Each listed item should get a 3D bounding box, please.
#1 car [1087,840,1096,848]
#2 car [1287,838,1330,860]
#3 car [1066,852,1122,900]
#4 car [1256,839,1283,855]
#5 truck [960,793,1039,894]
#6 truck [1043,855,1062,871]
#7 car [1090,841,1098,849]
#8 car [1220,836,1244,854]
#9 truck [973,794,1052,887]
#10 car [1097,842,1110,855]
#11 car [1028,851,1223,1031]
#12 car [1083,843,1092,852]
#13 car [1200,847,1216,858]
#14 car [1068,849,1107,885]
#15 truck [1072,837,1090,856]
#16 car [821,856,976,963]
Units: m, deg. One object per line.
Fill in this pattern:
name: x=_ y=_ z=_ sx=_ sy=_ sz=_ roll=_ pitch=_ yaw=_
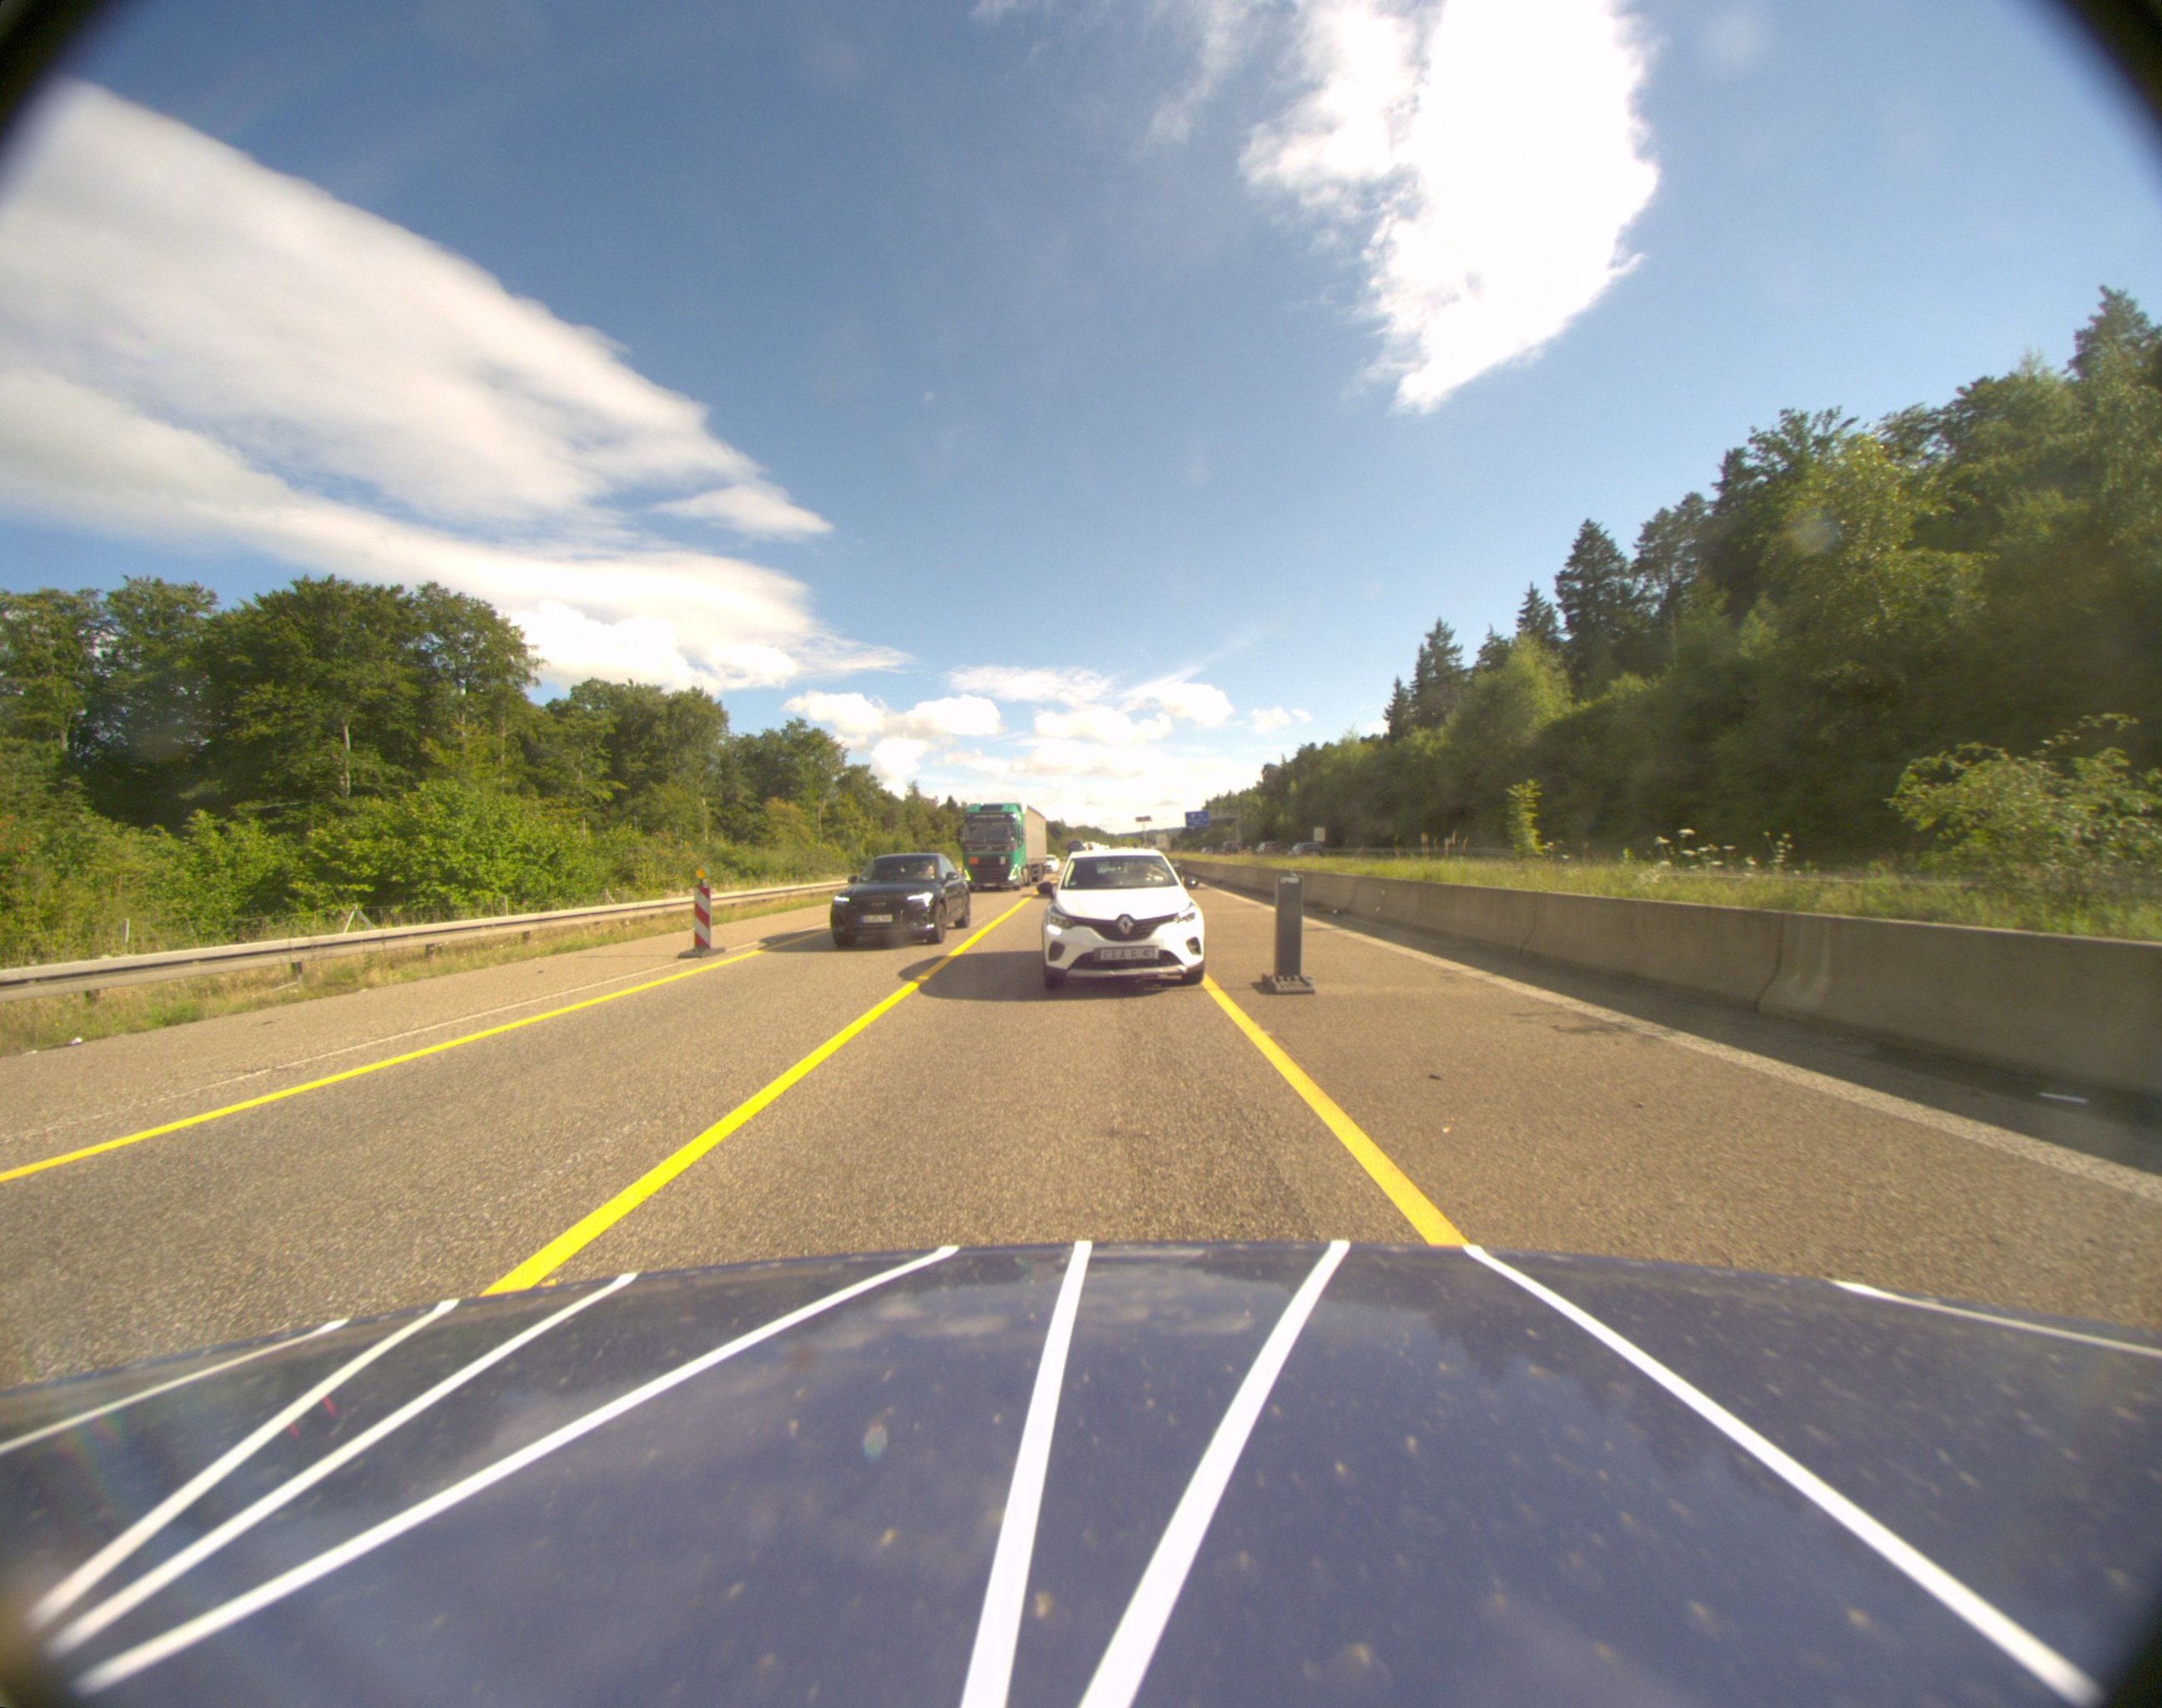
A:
car: x=2.346 y=-2.243 z=170.072 sx=1.750 sy=1.787 sz=3.999 roll=-2 pitch=1 yaw=0
car: x=15.916 y=-0.377 z=53.313 sx=1.782 sy=1.448 sz=4.104 roll=-2 pitch=1 yaw=1
car: x=0.457 y=0.730 z=27.323 sx=1.782 sy=1.468 sz=4.017 roll=-2 pitch=1 yaw=1
car: x=20.891 y=-0.777 z=84.351 sx=1.782 sy=1.679 sz=4.616 roll=-2 pitch=1 yaw=1
truck: x=-3.582 y=-0.484 z=35.114 sx=2.528 sy=4.076 sz=6.856 roll=-2 pitch=1 yaw=2
truck: x=-2.334 y=0.719 z=62.885 sx=1.468 sy=1.215 sz=3.087 roll=-2 pitch=1 yaw=-2
car: x=3.146 y=-2.205 z=180.523 sx=1.750 sy=1.787 sz=3.999 roll=-2 pitch=1 yaw=0
car: x=16.914 y=-1.046 z=85.447 sx=1.782 sy=1.891 sz=4.616 roll=-2 pitch=1 yaw=1
truck: x=-3.380 y=-0.623 z=41.679 sx=2.470 sy=4.119 sz=14.211 roll=-2 pitch=0 yaw=2
car: x=3.672 y=-0.859 z=123.078 sx=1.998 sy=2.002 sz=3.999 roll=-2 pitch=1 yaw=1
car: x=0.449 y=0.817 z=9.203 sx=1.782 sy=1.593 sz=4.017 roll=-2 pitch=1 yaw=1
car: x=1.376 y=-1.427 z=159.319 sx=1.750 sy=1.787 sz=3.999 roll=-2 pitch=1 yaw=0
car: x=19.896 y=-0.229 z=119.509 sx=1.782 sy=1.593 sz=4.311 roll=-2 pitch=1 yaw=1
car: x=0.346 y=0.608 z=37.722 sx=1.782 sy=1.593 sz=4.017 roll=-2 pitch=1 yaw=1
truck: x=0.001 y=-1.290 z=128.108 sx=2.576 sy=3.168 sz=6.802 roll=-2 pitch=1 yaw=3
car: x=-3.252 y=0.907 z=14.443 sx=1.782 sy=1.593 sz=4.293 roll=-2 pitch=1 yaw=1
